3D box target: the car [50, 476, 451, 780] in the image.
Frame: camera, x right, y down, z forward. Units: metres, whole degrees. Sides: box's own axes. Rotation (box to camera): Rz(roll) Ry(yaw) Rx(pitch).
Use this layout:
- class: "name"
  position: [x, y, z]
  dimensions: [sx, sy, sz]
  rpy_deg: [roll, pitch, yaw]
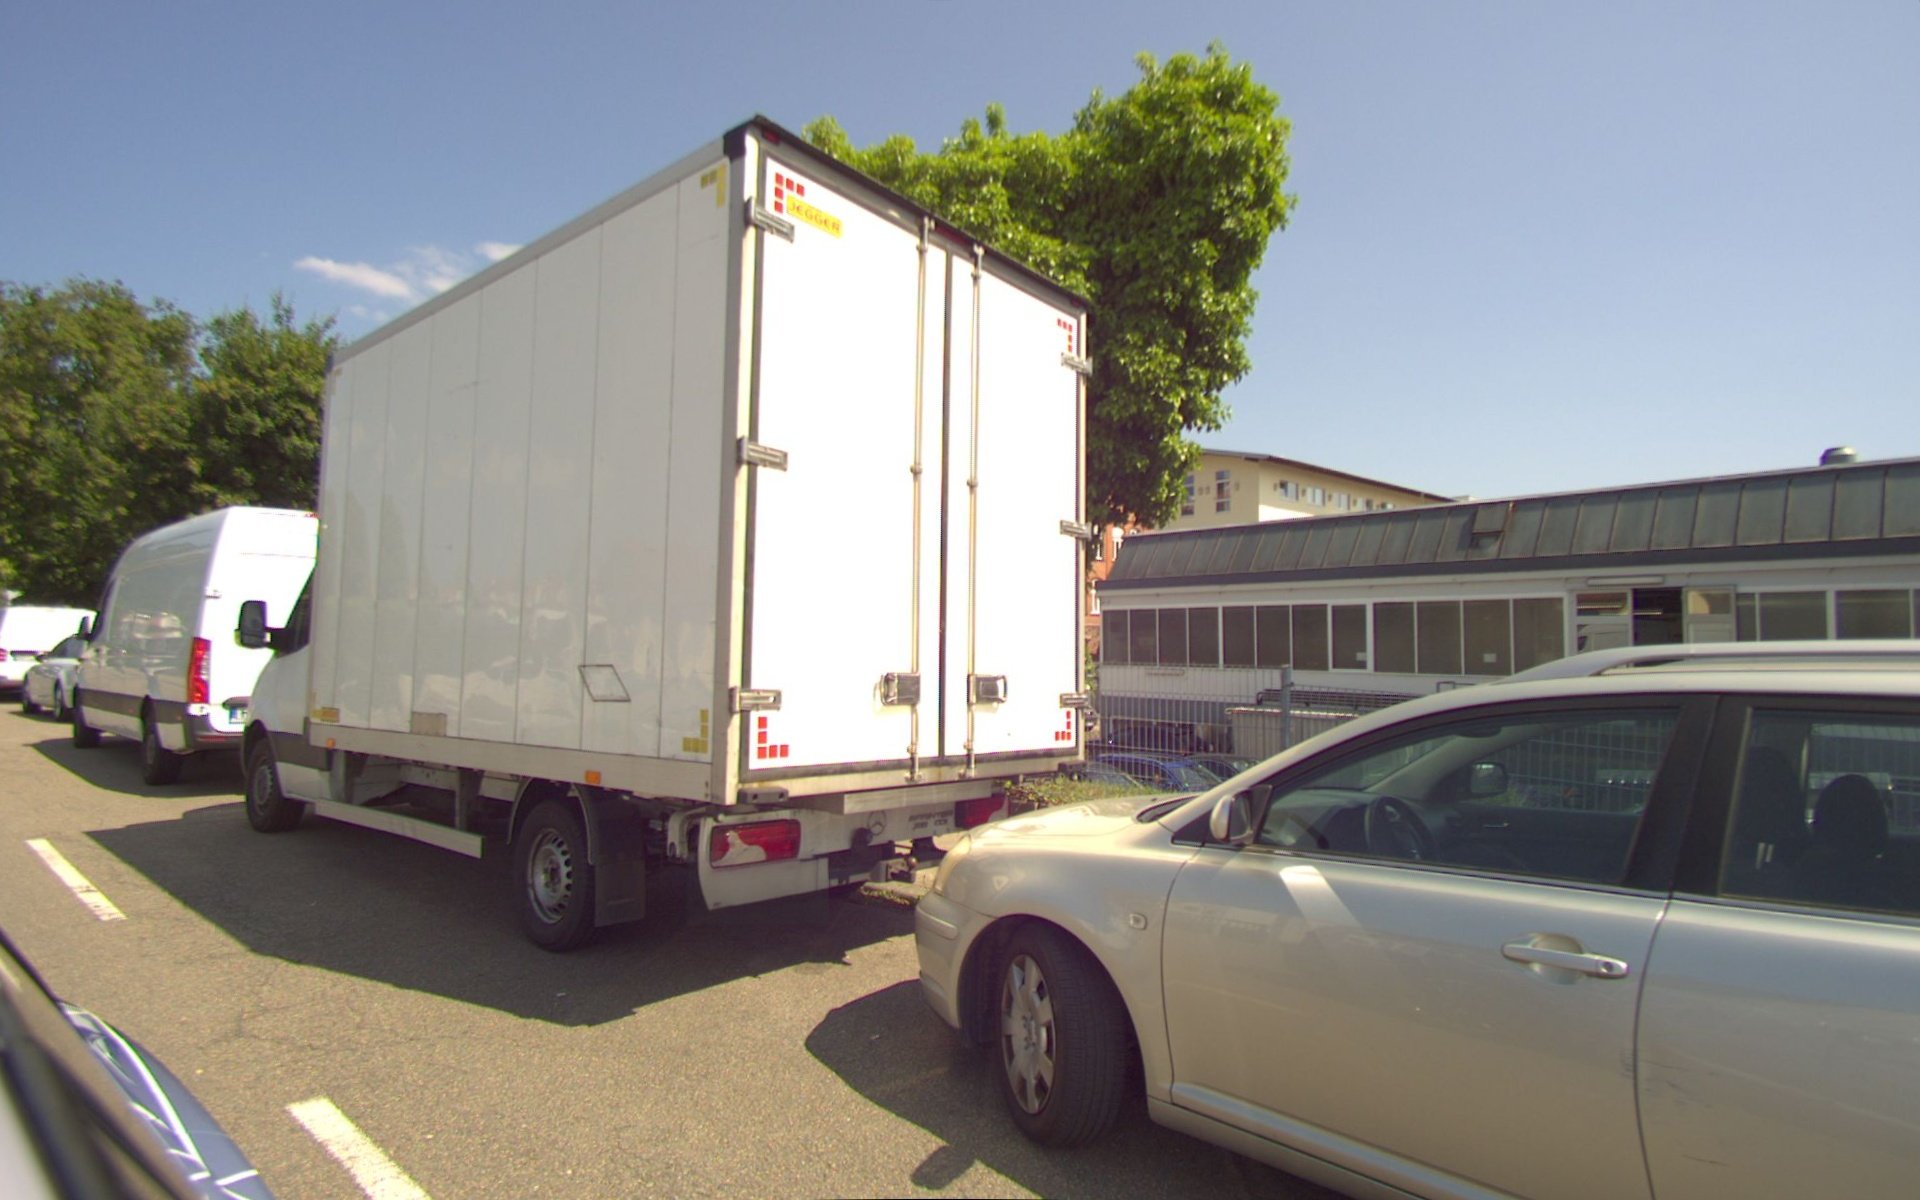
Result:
- class: "car"
  position: [-8.545, 0.337, 11.792]
  dimensions: [6.917, 2.616, 2.145]
  rpy_deg: [-1, -4, 42]

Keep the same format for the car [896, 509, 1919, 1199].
- class: "car"
  position: [1.930, 0.678, 2.439]
  dimensions: [4.312, 1.533, 1.721]
  rpy_deg: [-2, -5, 45]

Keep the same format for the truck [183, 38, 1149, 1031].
- class: "truck"
  position: [-2.549, -0.154, 6.779]
  dimensions: [7.125, 3.392, 2.657]
  rpy_deg: [-1, -3, 41]

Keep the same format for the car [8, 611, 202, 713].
- class: "car"
  position: [-14.897, 1.029, 17.557]
  dimensions: [4.396, 1.555, 1.697]
  rpy_deg: [-1, -4, 39]

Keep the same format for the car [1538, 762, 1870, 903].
- class: "car"
  position: [11.758, 3.559, 16.158]
  dimensions: [4.002, 1.453, 1.971]
  rpy_deg: [-2, -4, 45]

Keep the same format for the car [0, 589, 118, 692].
- class: "car"
  position: [-20.340, 0.879, 22.269]
  dimensions: [5.054, 2.029, 1.950]
  rpy_deg: [-1, -5, 42]

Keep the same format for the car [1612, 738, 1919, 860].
- class: "car"
  position: [13.908, 3.334, 17.594]
  dimensions: [4.002, 1.453, 1.971]
  rpy_deg: [-2, -4, 45]
